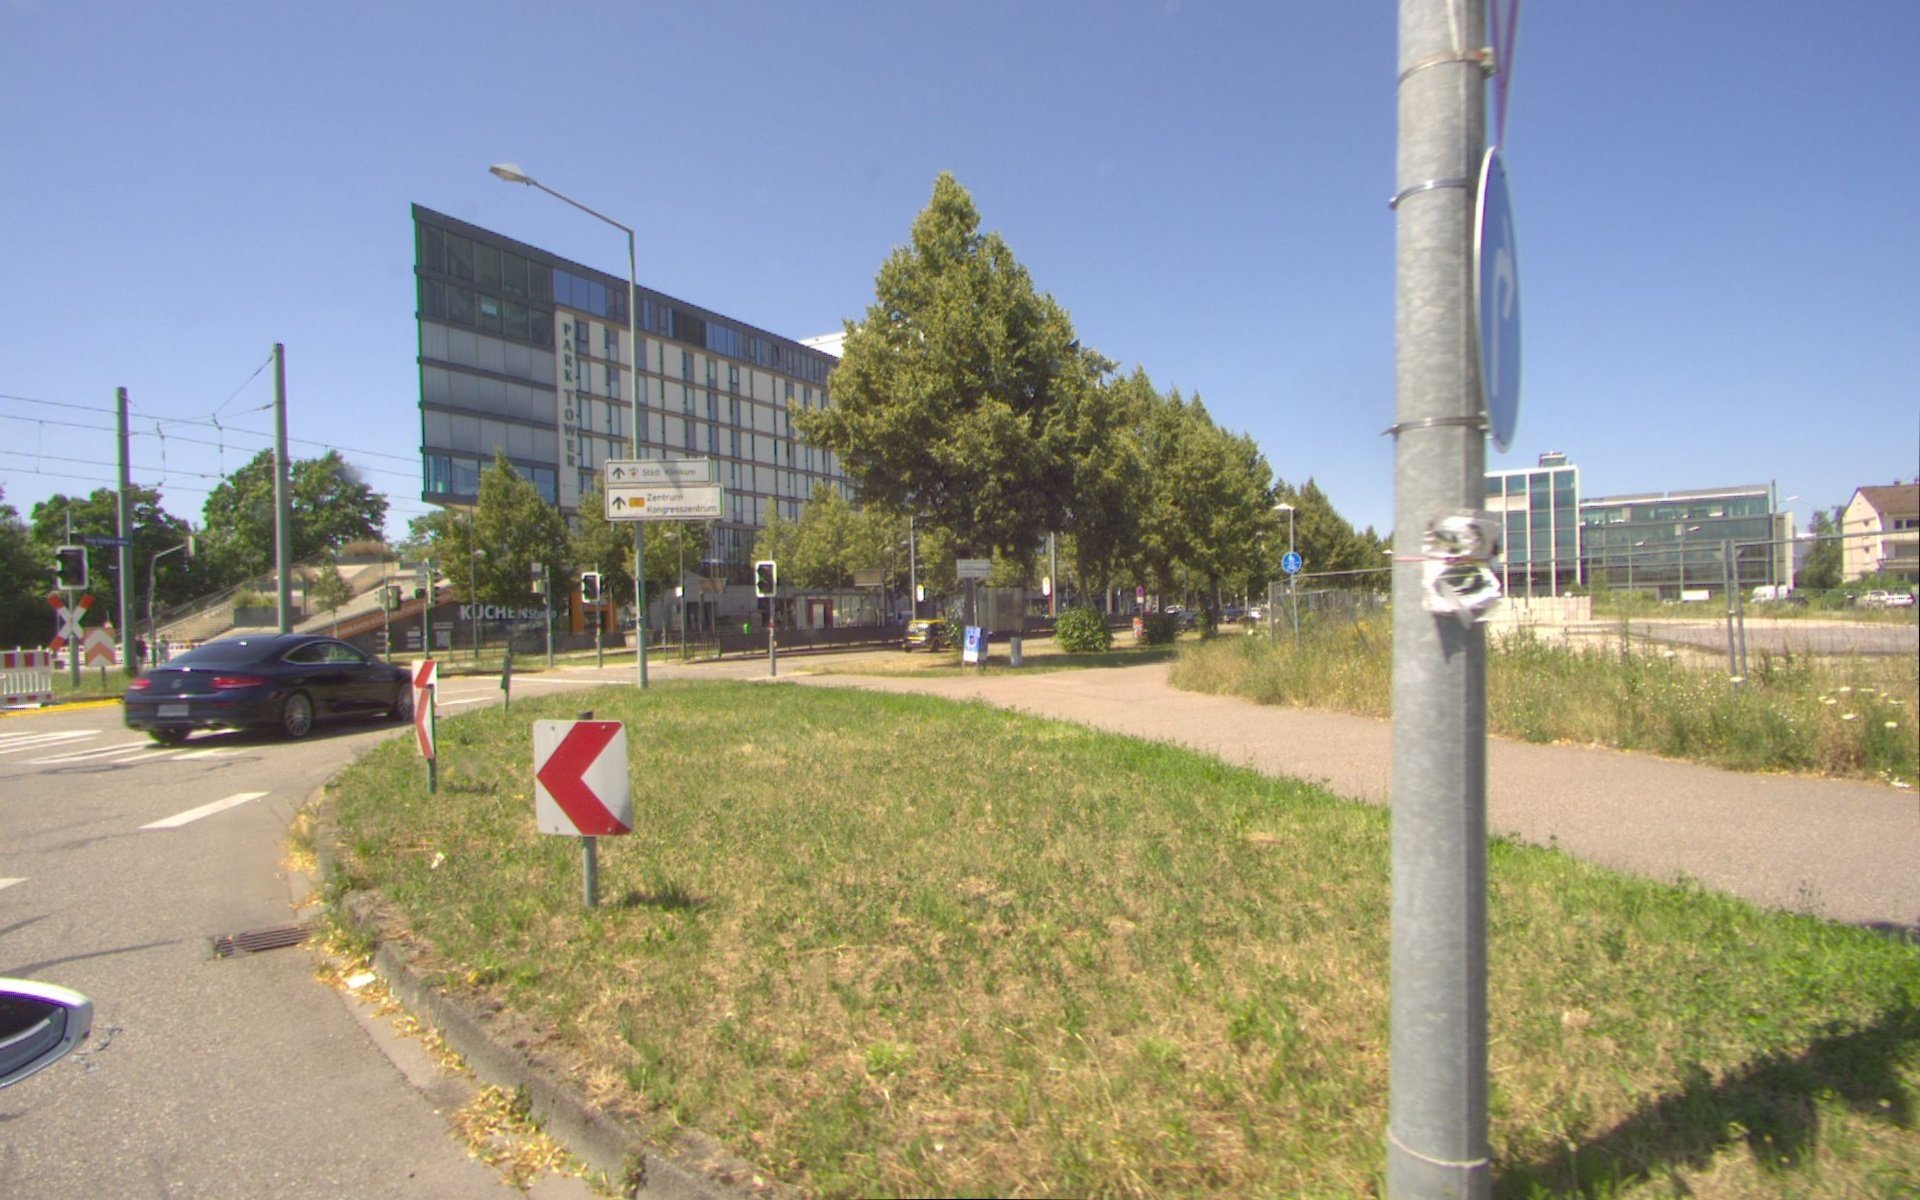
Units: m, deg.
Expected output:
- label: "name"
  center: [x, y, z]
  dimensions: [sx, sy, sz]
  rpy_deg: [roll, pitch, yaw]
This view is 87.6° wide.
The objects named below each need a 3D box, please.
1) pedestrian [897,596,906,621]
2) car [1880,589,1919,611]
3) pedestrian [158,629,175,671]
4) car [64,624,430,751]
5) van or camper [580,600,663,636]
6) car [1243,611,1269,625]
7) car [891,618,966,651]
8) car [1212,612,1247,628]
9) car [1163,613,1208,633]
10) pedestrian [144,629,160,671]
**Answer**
- label: "pedestrian"
  center: [-4.131, 0.603, 71.070]
  dimensions: [0.404, 1.775, 0.584]
  rpy_deg: [-1, 0, 26]
- label: "car"
  center: [76.036, 0.008, 80.865]
  dimensions: [1.654, 1.606, 3.609]
  rpy_deg: [-2, -2, 27]
- label: "pedestrian"
  center: [-34.085, 2.143, 43.016]
  dimensions: [0.313, 1.761, 0.447]
  rpy_deg: [-1, 0, 28]
- label: "car"
  center: [-9.579, 1.098, 14.101]
  dimensions: [1.822, 1.455, 4.957]
  rpy_deg: [0, -2, -3]
- label: "van or camper"
  center: [-27.836, 1.456, 82.635]
  dimensions: [2.345, 2.859, 6.763]
  rpy_deg: [-1, -1, 26]
- label: "car"
  center: [32.161, 1.951, 108.864]
  dimensions: [1.829, 1.467, 4.334]
  rpy_deg: [-2, -2, 29]
- label: "car"
  center: [-1.402, 1.570, 45.830]
  dimensions: [1.599, 1.470, 3.969]
  rpy_deg: [-2, -2, 29]
- label: "car"
  center: [26.128, 1.940, 96.934]
  dimensions: [1.972, 1.467, 4.735]
  rpy_deg: [-2, -2, 32]
- label: "car"
  center: [17.020, 1.744, 75.413]
  dimensions: [1.970, 1.467, 4.630]
  rpy_deg: [-2, -2, 30]
- label: "pedestrian"
  center: [-34.331, 2.123, 42.534]
  dimensions: [0.287, 1.761, 0.447]
  rpy_deg: [-1, 0, 28]
